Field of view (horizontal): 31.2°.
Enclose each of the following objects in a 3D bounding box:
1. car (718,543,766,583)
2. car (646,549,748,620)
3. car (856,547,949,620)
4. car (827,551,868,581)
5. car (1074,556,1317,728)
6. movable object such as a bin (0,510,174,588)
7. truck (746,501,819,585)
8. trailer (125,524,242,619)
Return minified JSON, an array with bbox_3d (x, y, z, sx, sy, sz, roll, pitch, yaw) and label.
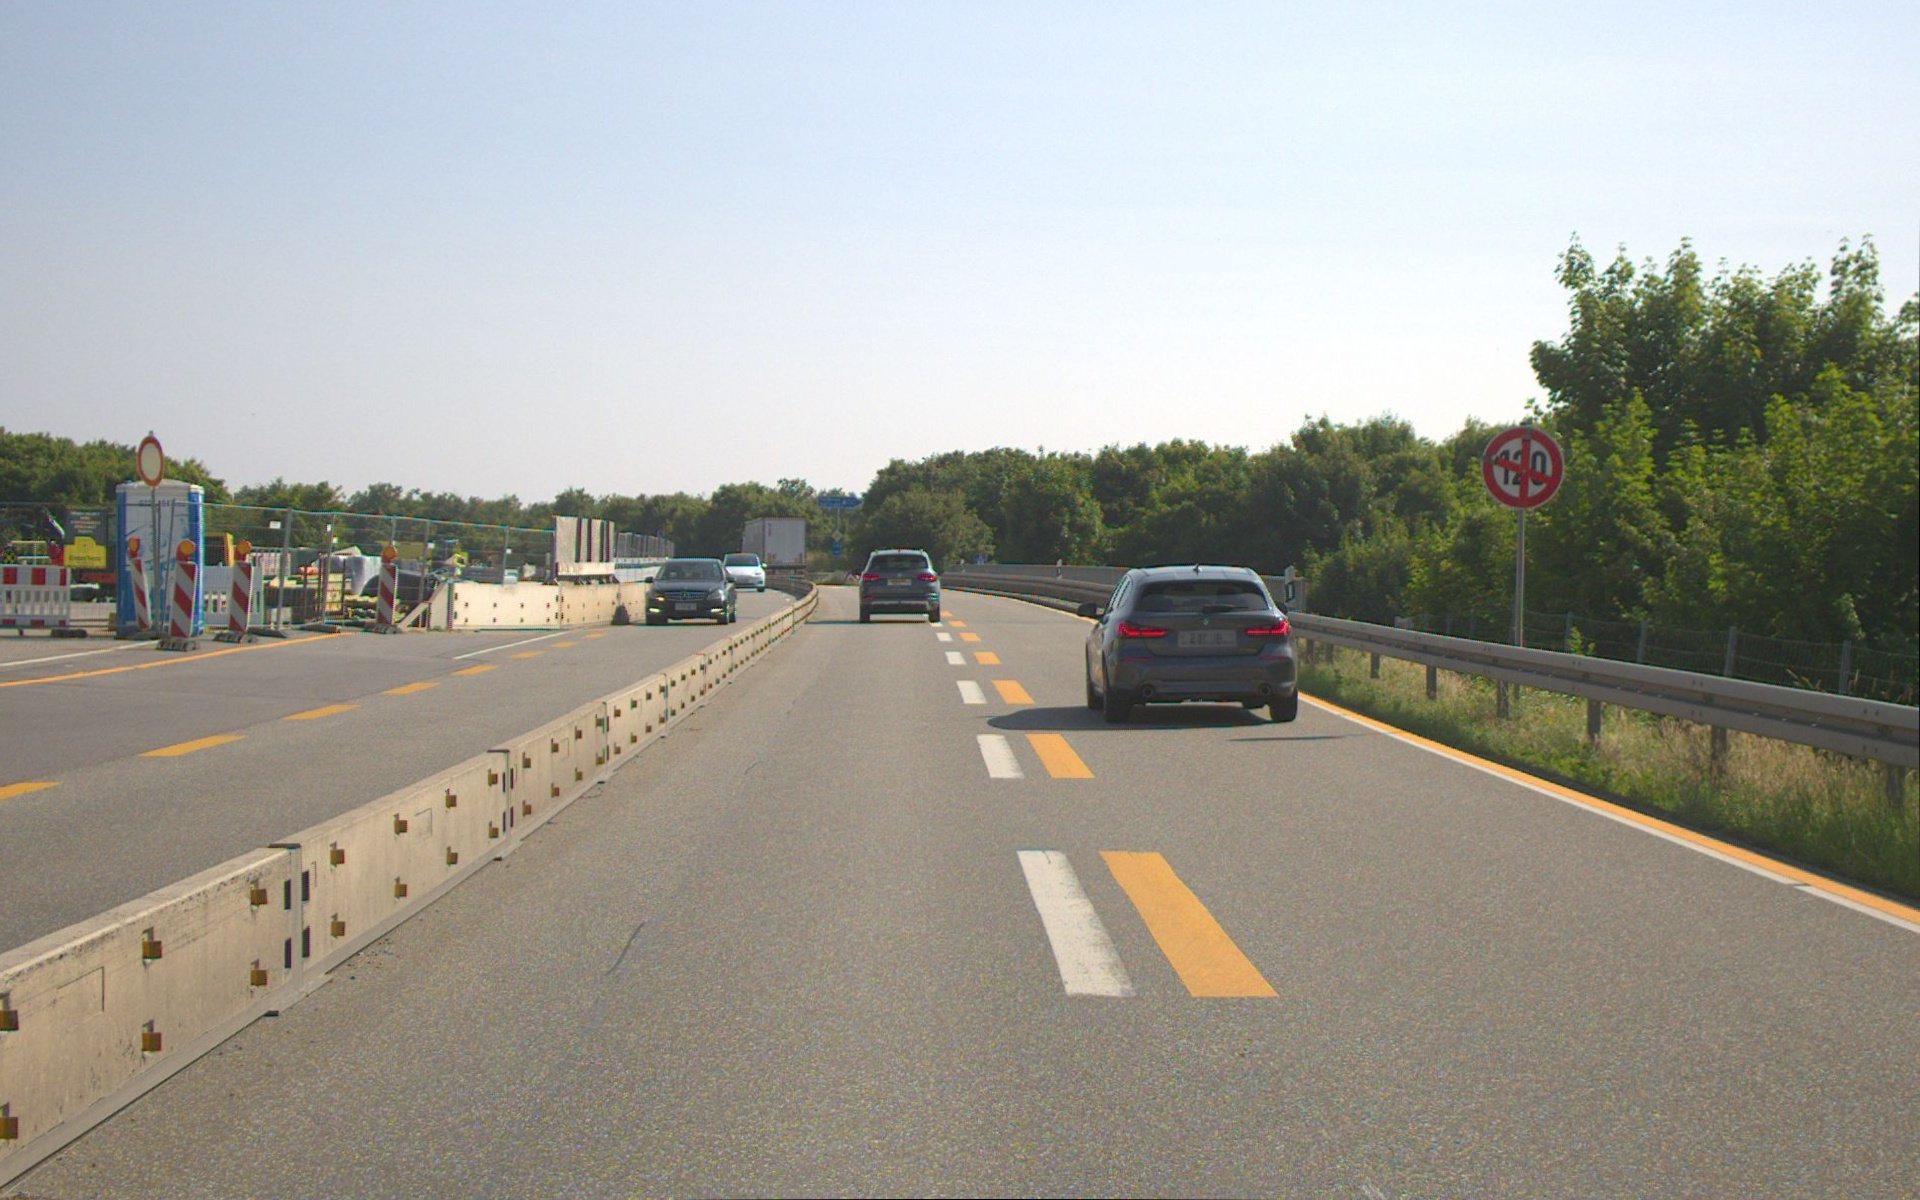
[{"bbox_3d":[-9.289,-1.579,146.766,1.981,1.645,4.549,1,1,-3],"label":"car"},{"bbox_3d":[-5.728,-0.361,75.325,1.859,1.468,4.684,1,1,0],"label":"car"},{"bbox_3d":[-1.258,-0.395,76.556,1.993,1.561,4.000,0,1,0],"label":"car"},{"bbox_3d":[-6.664,-2.024,204.066,1.993,1.682,4.001,1,1,-8],"label":"car"},{"bbox_3d":[2.181,0.353,32.852,1.920,1.488,4.000,1,1,-2],"label":"car"},{"bbox_3d":[-24.786,-1.427,95.457,5.397,2.109,2.236,1,1,18],"label":"movable object such as a bin"},{"bbox_3d":[-10.871,-3.483,209.108,3.760,4.894,14.139,1,1,-5],"label":"truck"},{"bbox_3d":[-14.335,-0.541,63.602,1.719,1.643,3.535,2,1,-7],"label":"trailer"}]
